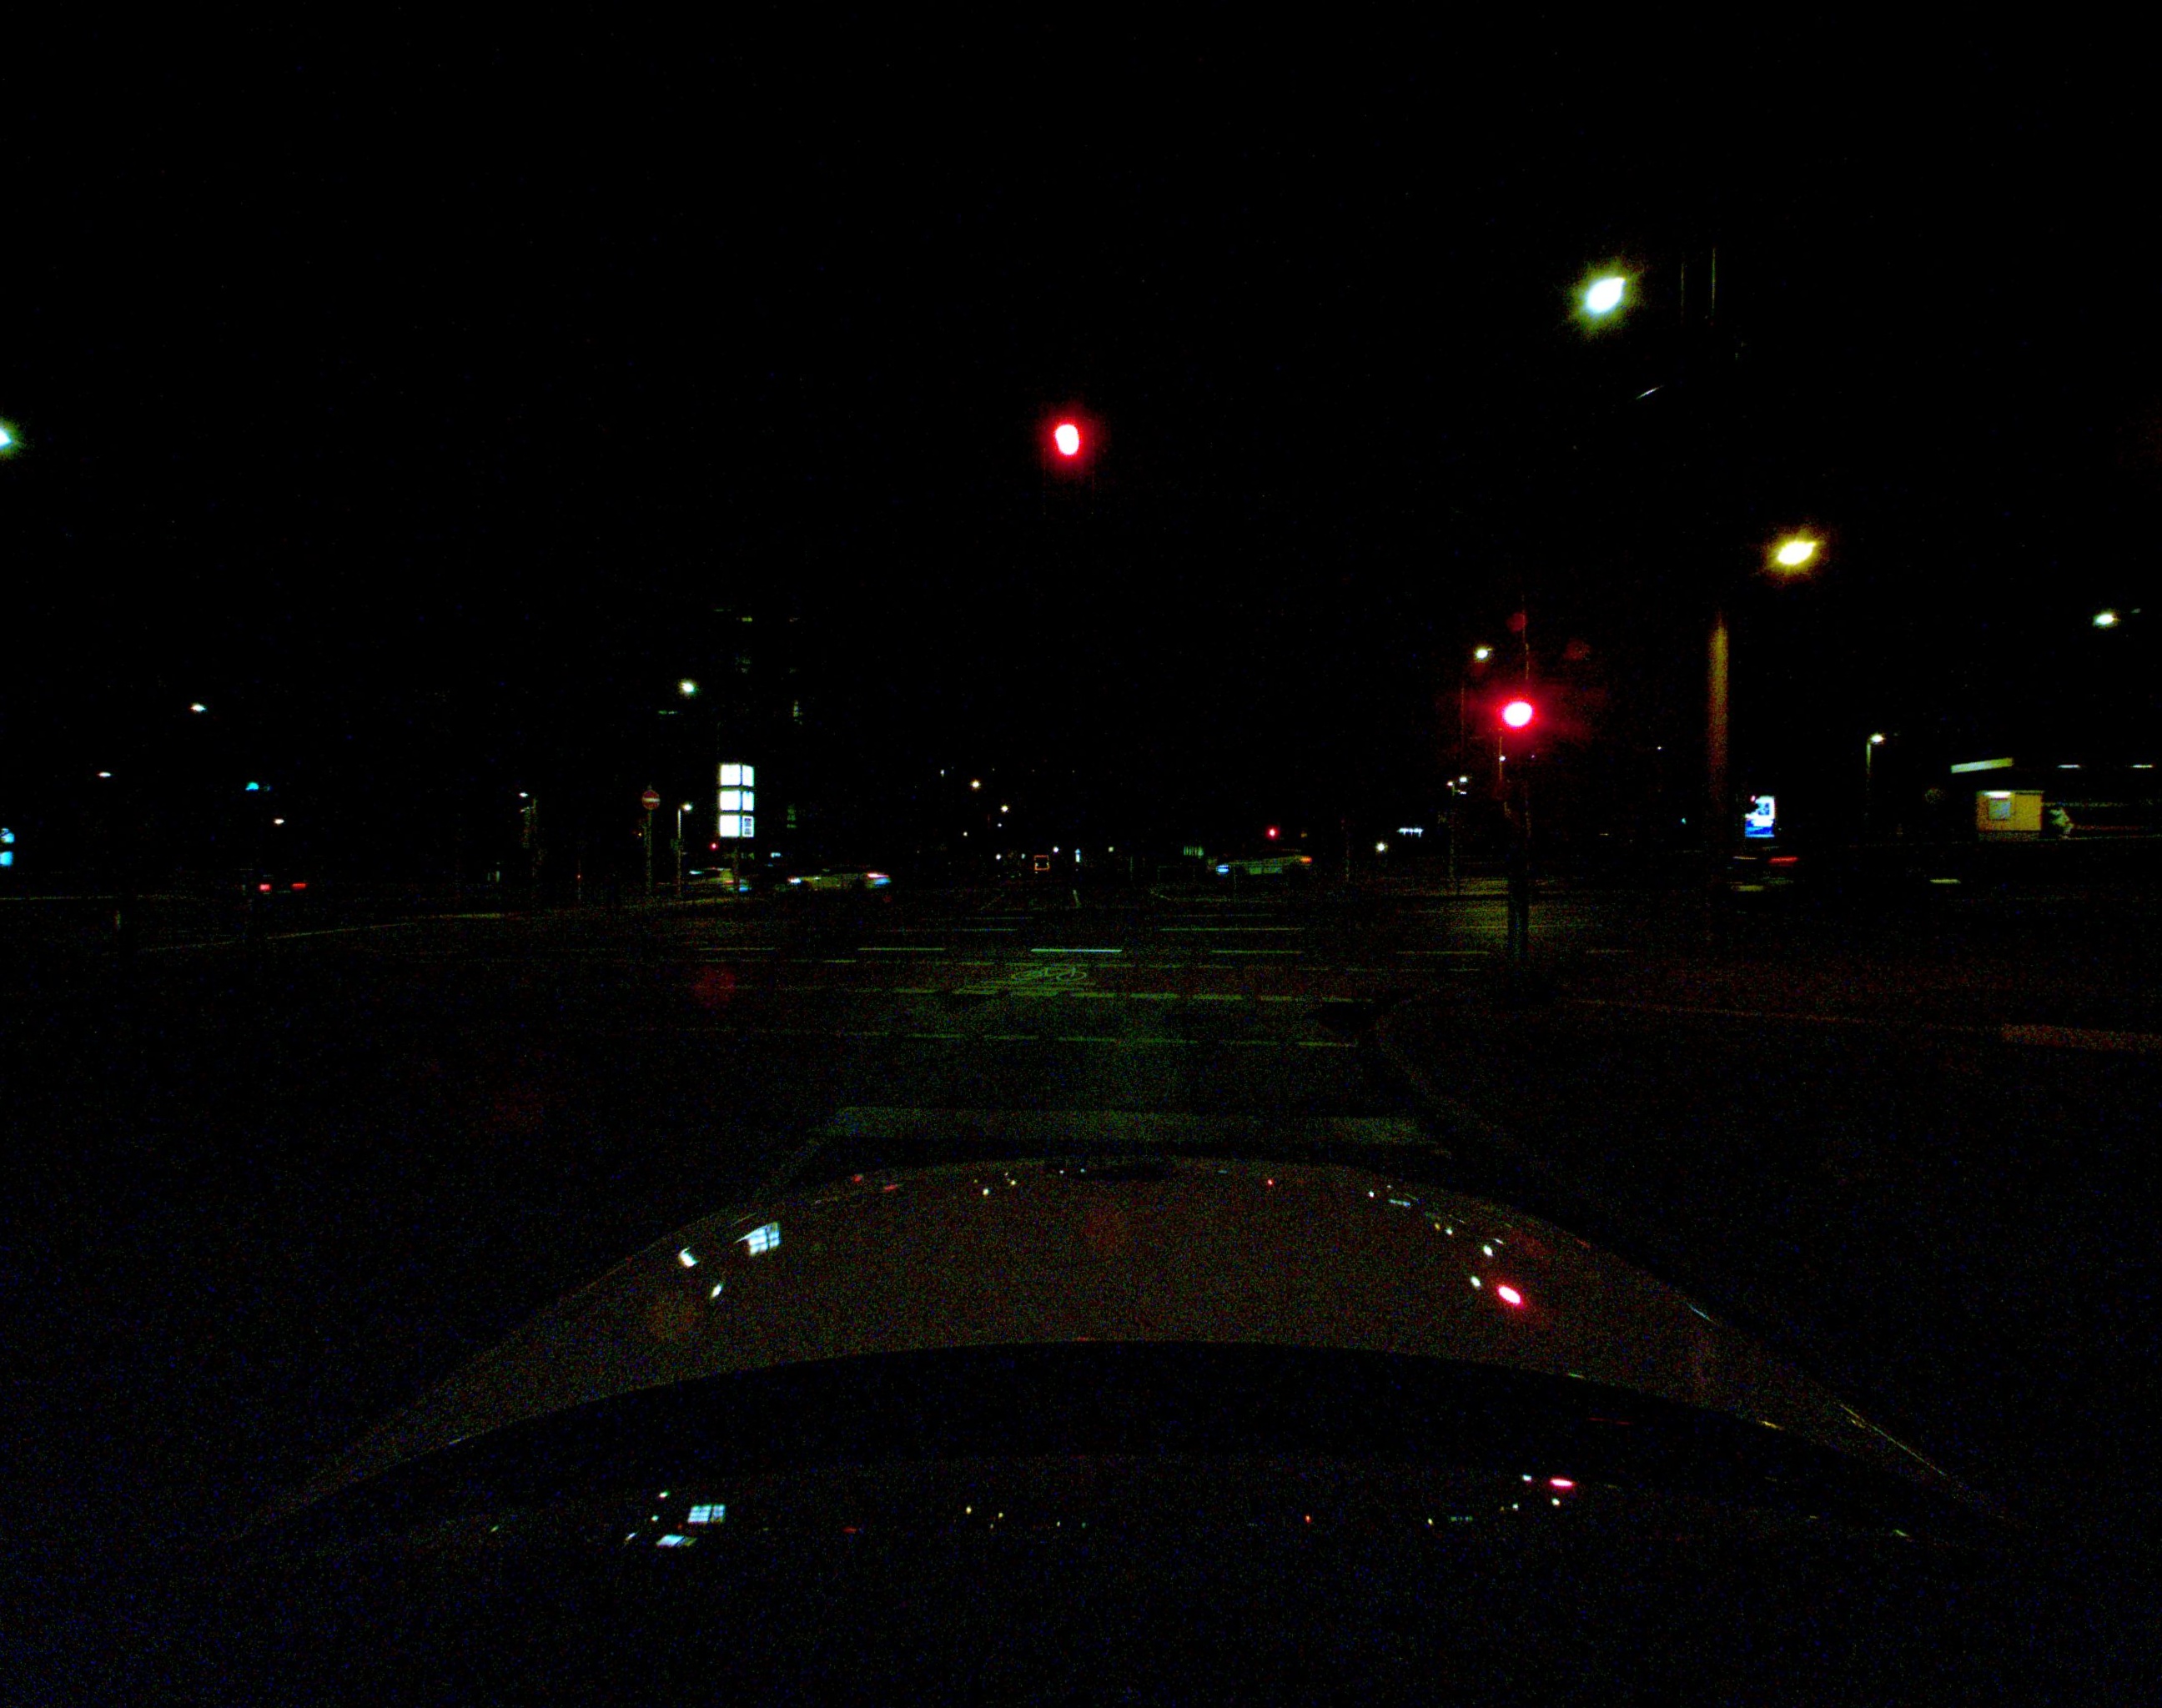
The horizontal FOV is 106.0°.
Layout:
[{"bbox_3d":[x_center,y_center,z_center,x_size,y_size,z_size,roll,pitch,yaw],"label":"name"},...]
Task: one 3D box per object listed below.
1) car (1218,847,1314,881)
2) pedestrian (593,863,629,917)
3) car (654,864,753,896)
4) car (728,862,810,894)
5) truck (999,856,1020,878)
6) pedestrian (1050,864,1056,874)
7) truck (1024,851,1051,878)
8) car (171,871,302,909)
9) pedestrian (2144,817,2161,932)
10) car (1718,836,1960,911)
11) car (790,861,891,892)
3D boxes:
[{"bbox_3d":[9.033,0.485,40.077,4.377,1.644,1.944,0,-1,5],"label":"car"},{"bbox_3d":[-15.090,1.146,26.147,0.700,1.722,0.681,0,-1,10],"label":"pedestrian"},{"bbox_3d":[-17.968,1.223,38.912,3.817,1.486,1.871,0,-1,5],"label":"car"},{"bbox_3d":[-17.318,1.339,45.266,3.798,1.631,1.816,-1,0,8],"label":"car"},{"bbox_3d":[-10.545,1.911,120.116,2.419,3.089,6.412,0,-1,-11],"label":"truck"},{"bbox_3d":[-5.114,2.755,147.898,0.851,1.912,1.001,0,-1,-16],"label":"pedestrian"},{"bbox_3d":[-7.992,1.917,149.258,3.366,4.843,7.865,0,-1,-14],"label":"truck"},{"bbox_3d":[-43.008,1.823,41.513,4.920,1.884,1.871,0,-1,5],"label":"car"},{"bbox_3d":[15.248,0.284,10.947,0.870,1.656,0.843,-7,-5,42],"label":"pedestrian"},{"bbox_3d":[16.682,0.413,18.085,3.669,1.420,1.645,-3,0,5],"label":"car"},{"bbox_3d":[-12.126,1.120,41.275,4.553,1.486,1.781,0,0,5],"label":"car"}]
